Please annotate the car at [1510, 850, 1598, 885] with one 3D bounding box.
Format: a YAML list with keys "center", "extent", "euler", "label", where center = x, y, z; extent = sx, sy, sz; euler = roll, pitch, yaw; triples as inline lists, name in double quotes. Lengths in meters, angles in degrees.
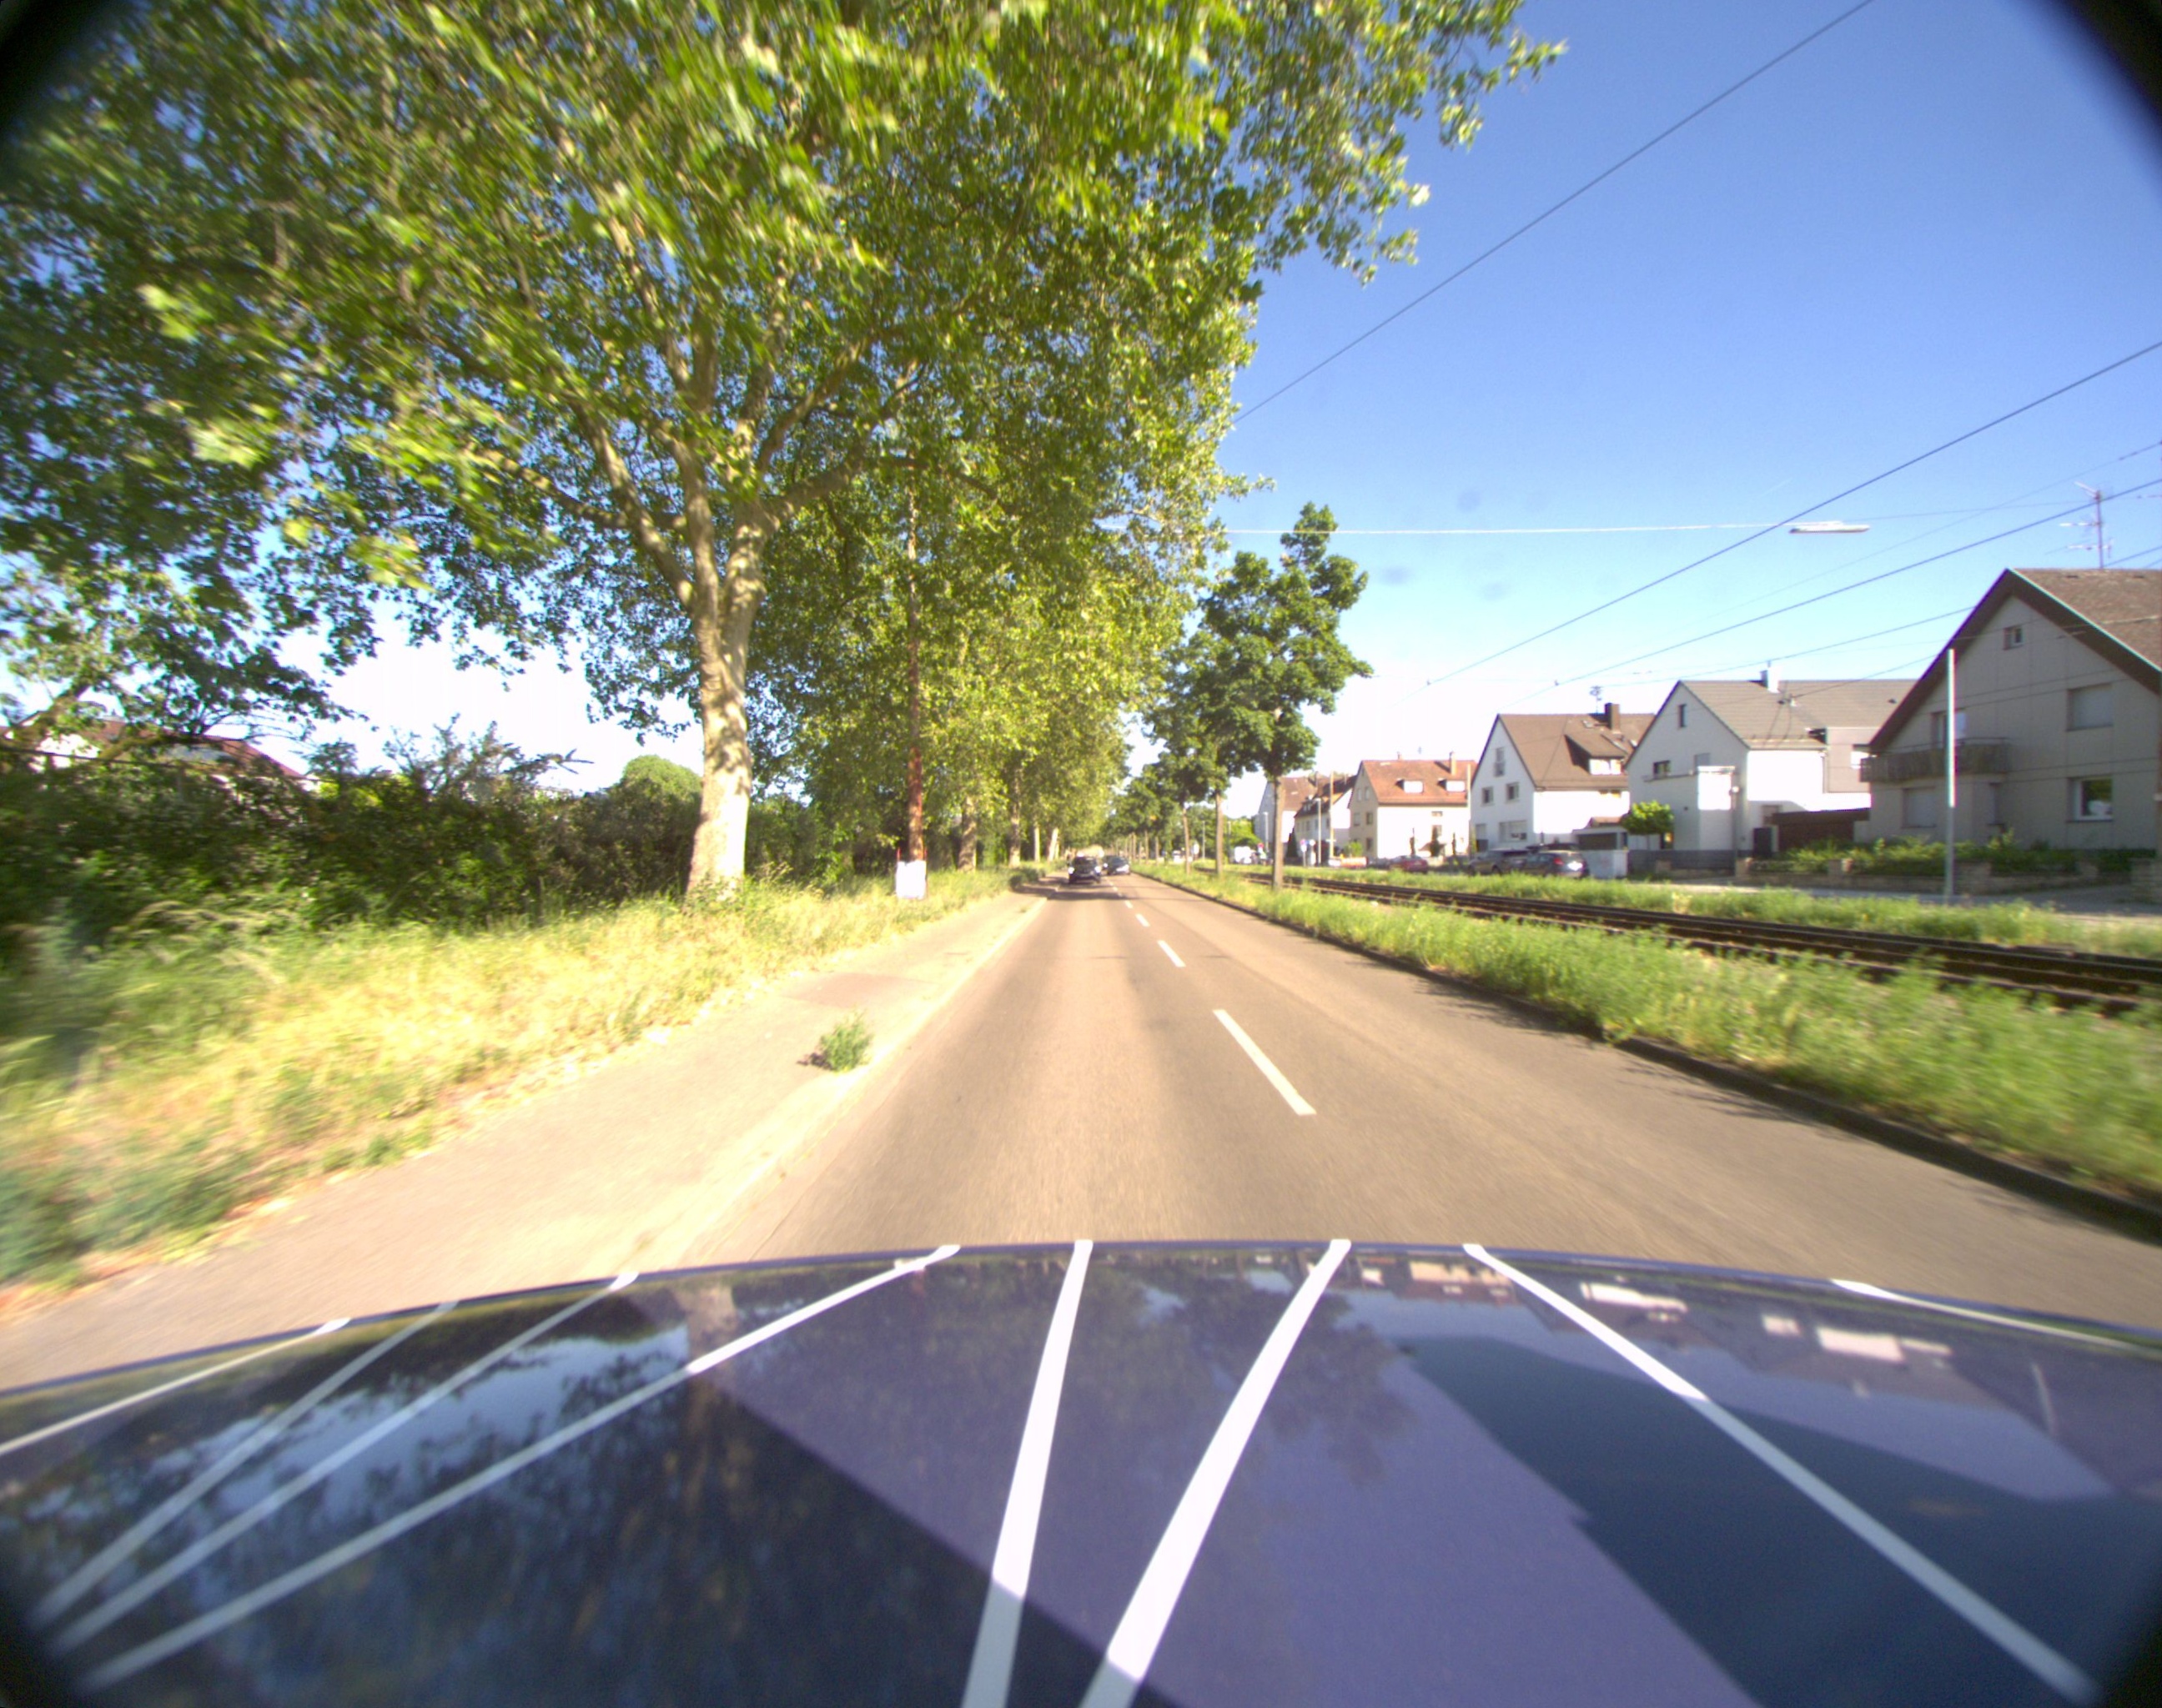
- center: [21.858, 0.583, 35.270]
  extent: [1.738, 1.481, 3.756]
  euler: [-2, 1, 1]
  label: "car"

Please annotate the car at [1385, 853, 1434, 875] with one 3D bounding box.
- center: [22.303, 0.625, 51.743]
  extent: [1.756, 1.373, 3.823]
  euler: [-2, 1, 1]
  label: "car"

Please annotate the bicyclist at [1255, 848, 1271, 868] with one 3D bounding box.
- center: [20.084, 0.424, 83.700]
  extent: [1.310, 2.220, 1.623]
  euler: [-2, 1, 1]
  label: "bicyclist"

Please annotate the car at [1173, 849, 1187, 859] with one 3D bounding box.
- center: [20.220, 0.039, 155.416]
  extent: [2.133, 2.023, 3.999]
  euler: [-2, 1, 0]
  label: "car"

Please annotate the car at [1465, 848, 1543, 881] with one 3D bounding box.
- center: [21.870, 0.486, 39.457]
  extent: [1.802, 1.588, 4.011]
  euler: [-2, 1, 1]
  label: "car"

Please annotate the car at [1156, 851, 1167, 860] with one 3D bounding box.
- center: [18.921, 0.403, 178.450]
  extent: [2.133, 2.023, 3.999]
  euler: [-2, 1, 0]
  label: "car"

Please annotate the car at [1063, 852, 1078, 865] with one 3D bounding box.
- center: [-1.288, 0.517, 94.320]
  extent: [1.692, 1.499, 3.582]
  euler: [-2, 1, 1]
  label: "car"

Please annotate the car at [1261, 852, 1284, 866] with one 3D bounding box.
- center: [22.523, 0.594, 89.518]
  extent: [1.791, 1.497, 4.000]
  euler: [-2, 1, 1]
  label: "car"

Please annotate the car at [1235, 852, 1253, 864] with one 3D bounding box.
- center: [22.118, 0.582, 103.425]
  extent: [1.791, 1.497, 4.001]
  euler: [-2, 1, 4]
  label: "car"

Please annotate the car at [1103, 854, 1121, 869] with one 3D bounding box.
- center: [3.300, 0.828, 81.235]
  extent: [1.692, 1.499, 3.582]
  euler: [-2, 1, 1]
  label: "car"

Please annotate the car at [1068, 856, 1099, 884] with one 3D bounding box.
- center: [0.187, 0.858, 43.376]
  extent: [1.692, 1.499, 3.582]
  euler: [0, 1, 1]
  label: "car"

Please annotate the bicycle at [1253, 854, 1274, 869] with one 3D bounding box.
- center: [20.098, 0.815, 83.796]
  extent: [1.354, 1.486, 4.000]
  euler: [-2, 1, 1]
  label: "bicycle"

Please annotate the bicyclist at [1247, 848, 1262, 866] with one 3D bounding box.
- center: [20.171, 0.344, 88.429]
  extent: [1.354, 2.147, 1.308]
  euler: [-2, 1, 1]
  label: "bicyclist"

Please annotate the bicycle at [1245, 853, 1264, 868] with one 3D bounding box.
- center: [20.209, 0.734, 88.670]
  extent: [1.354, 1.568, 4.000]
  euler: [-2, 1, 1]
  label: "bicycle"

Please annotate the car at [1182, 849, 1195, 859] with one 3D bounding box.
- center: [23.602, -0.020, 167.295]
  extent: [2.133, 2.023, 3.999]
  euler: [-2, 1, 0]
  label: "car"

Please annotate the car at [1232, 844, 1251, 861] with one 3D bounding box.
- center: [22.855, -0.229, 108.440]
  extent: [2.132, 2.210, 4.001]
  euler: [-2, 1, 4]
  label: "car"
